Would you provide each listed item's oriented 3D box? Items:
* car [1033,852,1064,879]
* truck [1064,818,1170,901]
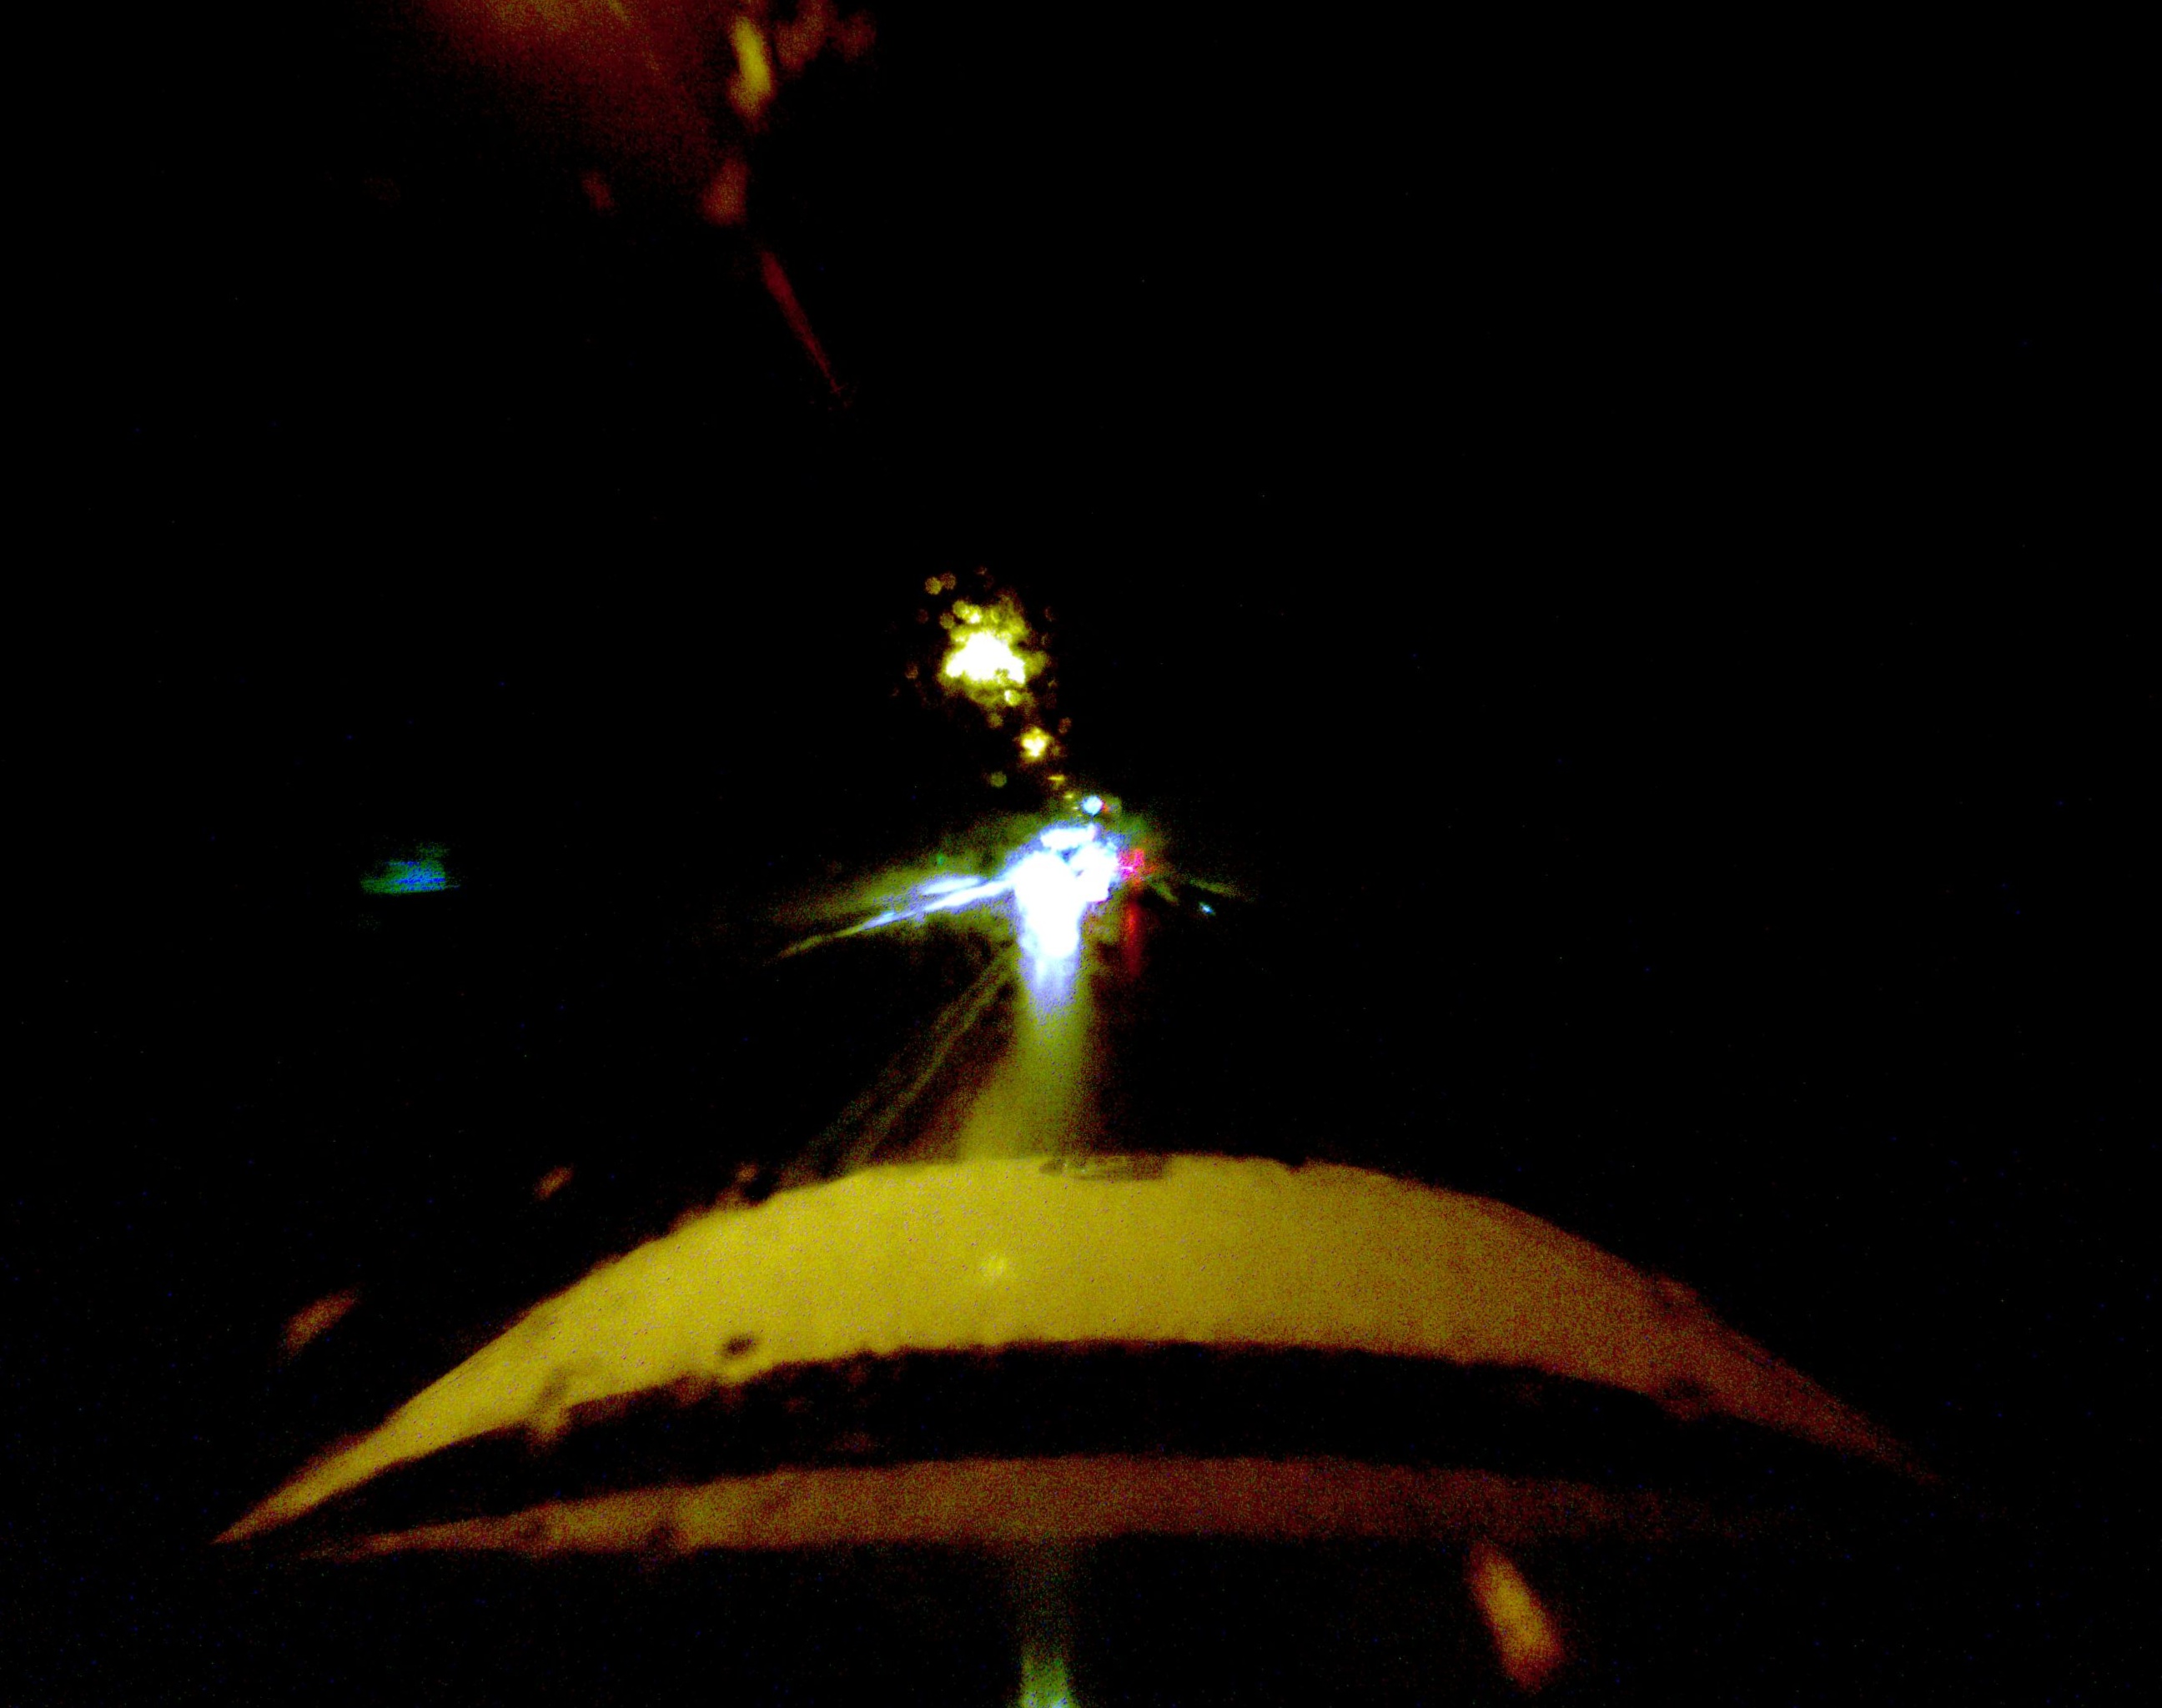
[{"bbox_3d":[-1.991,0.704,50.359,1.592,1.613,3.997,-1,0,2],"label":"car"},{"bbox_3d":[1.349,0.197,31.939,3.522,2.693,8.959,-1,0,2],"label":"truck"}]
